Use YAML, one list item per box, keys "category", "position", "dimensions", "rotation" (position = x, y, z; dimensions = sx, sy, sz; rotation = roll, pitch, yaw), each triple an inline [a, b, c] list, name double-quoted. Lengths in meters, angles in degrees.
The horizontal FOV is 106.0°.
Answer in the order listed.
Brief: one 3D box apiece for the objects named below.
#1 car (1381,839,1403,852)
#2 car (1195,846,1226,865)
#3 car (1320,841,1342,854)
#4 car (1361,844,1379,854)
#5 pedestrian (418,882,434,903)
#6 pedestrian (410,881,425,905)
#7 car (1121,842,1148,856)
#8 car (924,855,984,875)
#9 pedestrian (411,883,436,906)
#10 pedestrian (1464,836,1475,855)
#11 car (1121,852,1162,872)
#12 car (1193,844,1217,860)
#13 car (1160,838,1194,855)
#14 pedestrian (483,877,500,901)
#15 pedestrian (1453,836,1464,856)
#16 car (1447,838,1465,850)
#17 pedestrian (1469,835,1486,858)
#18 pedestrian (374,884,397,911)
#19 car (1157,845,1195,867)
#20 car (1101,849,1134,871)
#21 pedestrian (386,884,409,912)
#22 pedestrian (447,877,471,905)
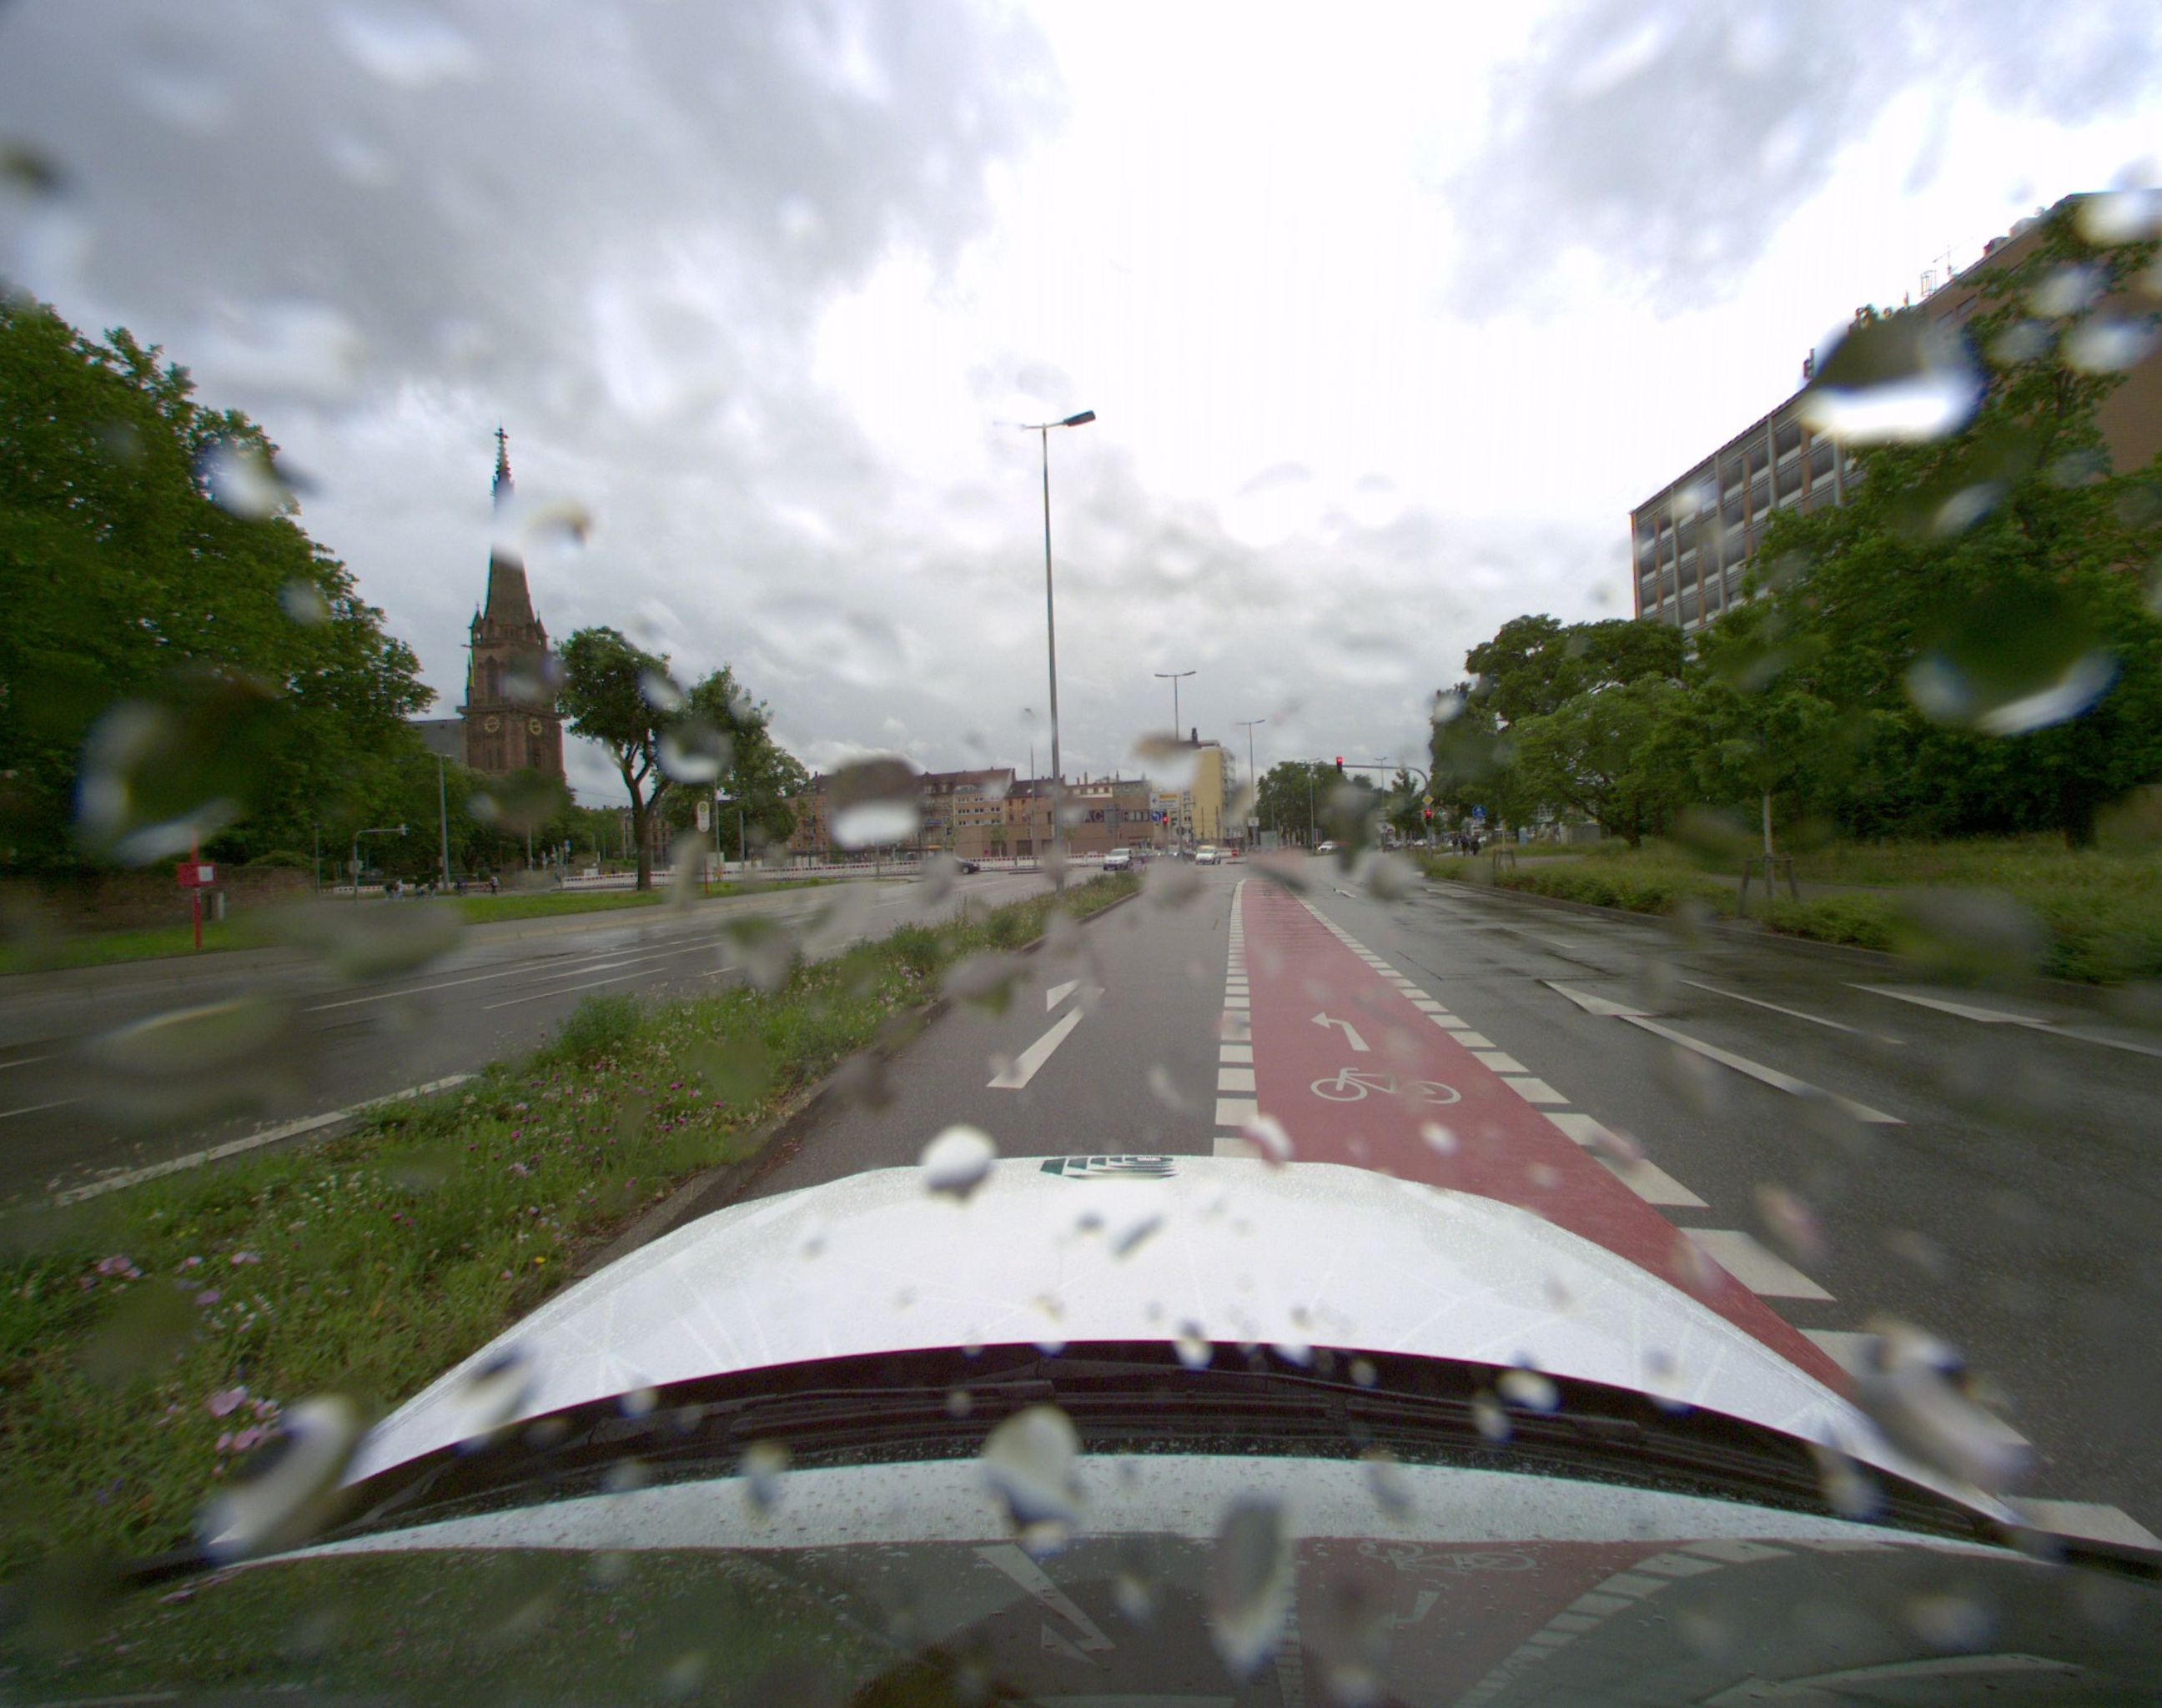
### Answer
- category: "car"
  position: [42.728, -1.218, 111.856]
  dimensions: [1.772, 1.643, 4.186]
  rotation: [-2, 0, 34]
- category: "car"
  position: [11.313, 0.120, 70.927]
  dimensions: [1.664, 1.501, 3.890]
  rotation: [-3, 0, 23]
- category: "car"
  position: [37.548, -0.973, 122.286]
  dimensions: [1.808, 1.682, 5.199]
  rotation: [-4, 0, 33]
- category: "car"
  position: [52.529, -0.906, 148.070]
  dimensions: [1.677, 1.690, 4.211]
  rotation: [-2, 2, 39]
- category: "pedestrian"
  position: [-50.626, 2.967, 62.972]
  dimensions: [0.675, 1.500, 0.769]
  rotation: [-2, 0, -20]
- category: "pedestrian"
  position: [-53.804, 3.190, 66.020]
  dimensions: [0.601, 1.890, 0.603]
  rotation: [-2, 0, 7]
- category: "car"
  position: [11.524, -1.035, 175.755]
  dimensions: [5.310, 2.887, 2.349]
  rotation: [-2, 0, 15]
- category: "car"
  position: [-9.647, 0.826, 61.932]
  dimensions: [4.169, 1.402, 1.621]
  rotation: [-2, 0, 6]
- category: "pedestrian"
  position: [-47.103, 2.886, 58.354]
  dimensions: [0.931, 1.539, 1.055]
  rotation: [-2, 0, -14]
- category: "pedestrian"
  position: [31.577, -0.695, 66.239]
  dimensions: [0.696, 1.588, 0.942]
  rotation: [-2, 0, 23]
- category: "car"
  position: [5.693, 0.720, 76.137]
  dimensions: [3.842, 1.706, 1.690]
  rotation: [-2, 0, -45]
- category: "car"
  position: [14.720, -0.254, 96.443]
  dimensions: [1.690, 1.706, 4.176]
  rotation: [-2, 0, 24]
- category: "car"
  position: [20.449, -1.651, 173.091]
  dimensions: [6.691, 3.380, 2.821]
  rotation: [-2, 0, 15]
- category: "pedestrian"
  position: [-46.046, 2.715, 63.594]
  dimensions: [0.719, 1.777, 0.777]
  rotation: [-2, 0, 13]
- category: "pedestrian"
  position: [30.865, -0.667, 66.549]
  dimensions: [0.747, 1.588, 0.942]
  rotation: [-2, 0, 23]
- category: "car"
  position: [55.735, -1.502, 121.014]
  dimensions: [1.772, 1.643, 4.186]
  rotation: [-2, 0, 34]
- category: "pedestrian"
  position: [29.095, -0.546, 59.735]
  dimensions: [1.013, 1.588, 0.942]
  rotation: [-2, 0, 23]
- category: "pedestrian"
  position: [-52.932, 3.324, 62.022]
  dimensions: [0.850, 2.013, 0.960]
  rotation: [-2, 0, 13]
- category: "car"
  position: [8.335, 0.131, 71.014]
  dimensions: [1.976, 1.636, 4.629]
  rotation: [-4, 0, 23]
- category: "car"
  position: [2.600, 0.373, 57.722]
  dimensions: [1.668, 1.404, 4.171]
  rotation: [-3, 0, 11]
- category: "pedestrian"
  position: [-51.960, 3.352, 61.932]
  dimensions: [0.850, 2.013, 0.960]
  rotation: [-2, 0, 13]
- category: "pedestrian"
  position: [-47.490, 2.815, 62.204]
  dimensions: [0.996, 2.013, 1.303]
  rotation: [-2, 0, -14]
